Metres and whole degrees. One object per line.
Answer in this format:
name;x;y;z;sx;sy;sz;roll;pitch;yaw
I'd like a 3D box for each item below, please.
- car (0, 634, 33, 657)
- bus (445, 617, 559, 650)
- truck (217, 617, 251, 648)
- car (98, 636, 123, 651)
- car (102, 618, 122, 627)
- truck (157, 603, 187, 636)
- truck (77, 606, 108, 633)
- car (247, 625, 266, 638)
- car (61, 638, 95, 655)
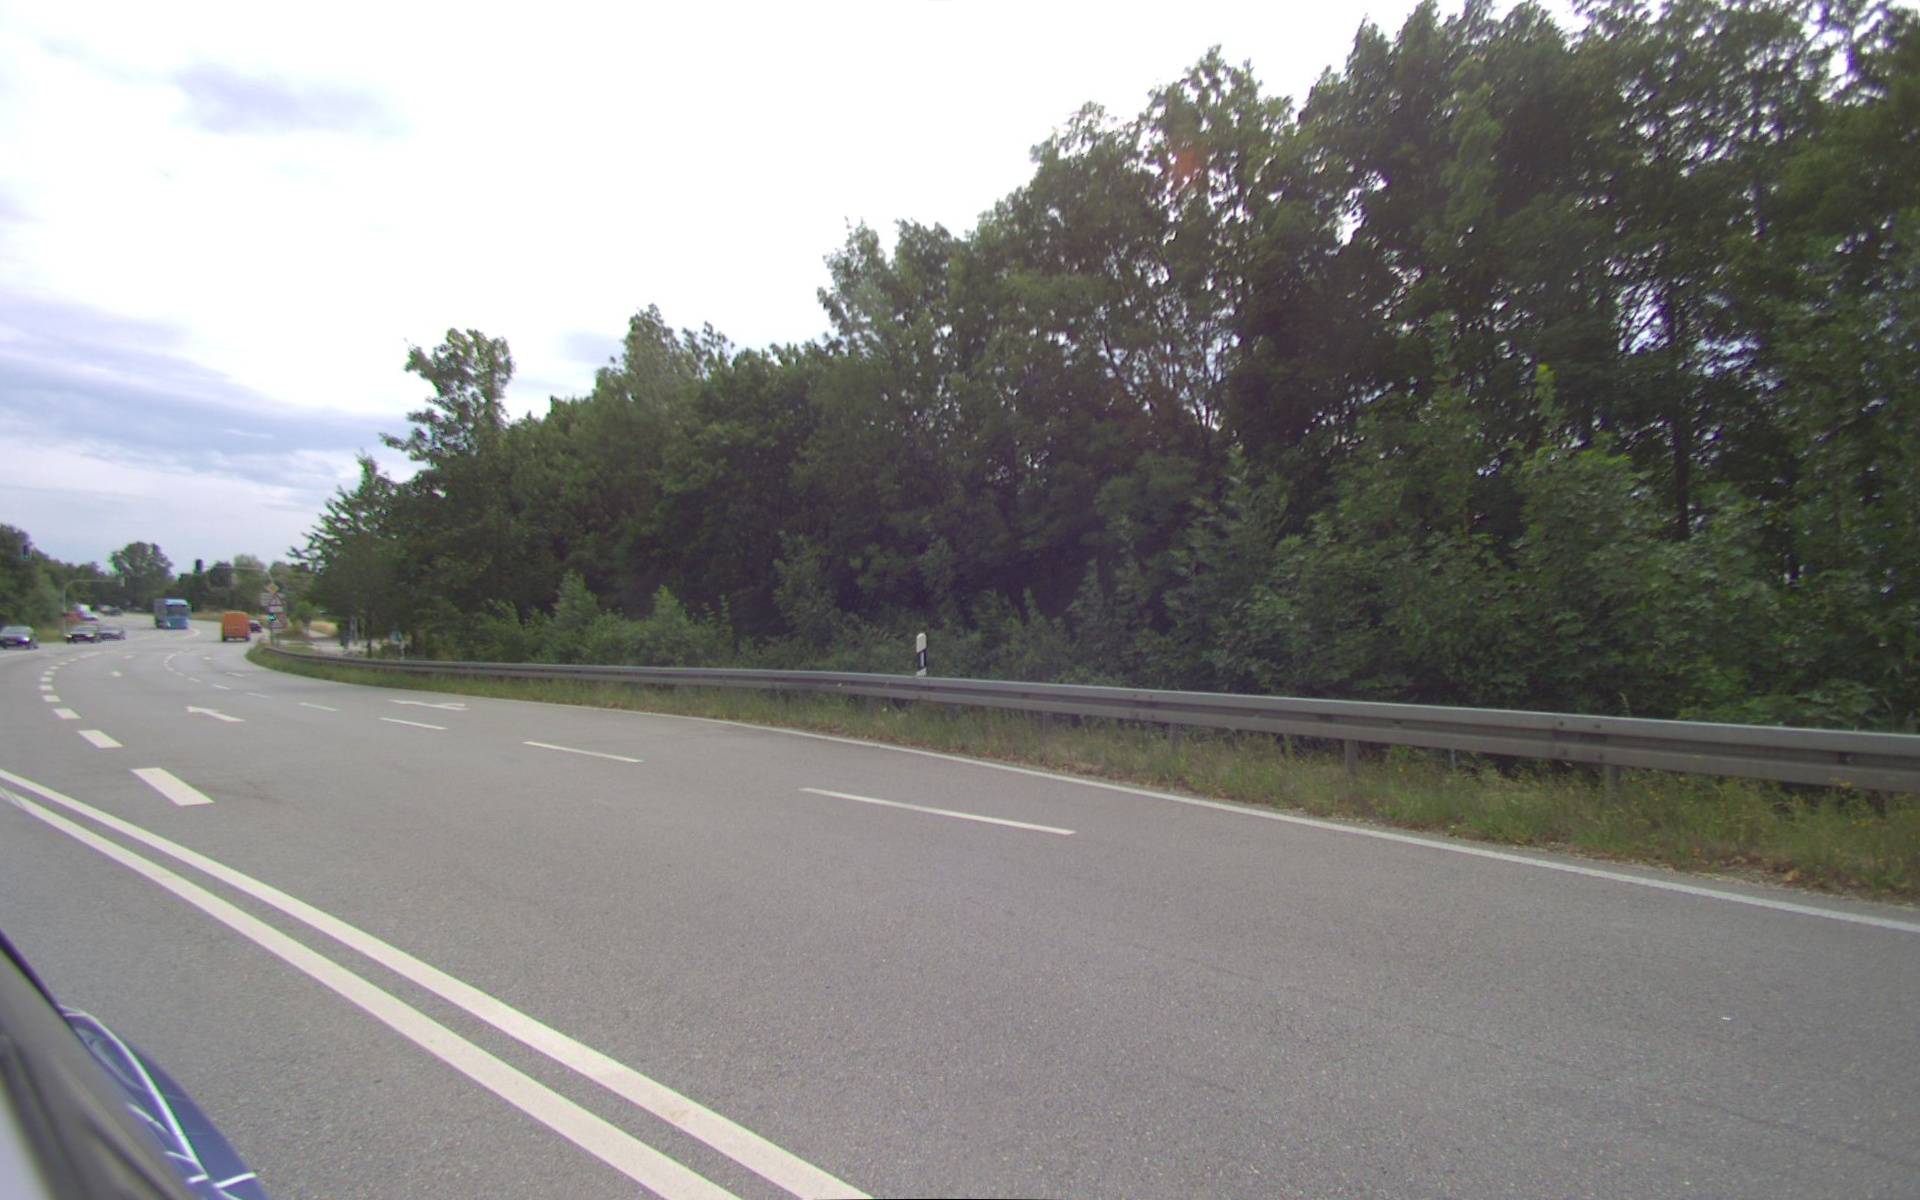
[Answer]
car;-60.223;2.859;64.117;1.717;1.335;4.008;5;-5;-37
bus;-45.648;3.373;101.175;9.921;3.070;3.124;3;-3;-44
truck;-65.645;2.937;91.620;2.285;2.621;6.038;4;-4;-35
car;-80.981;4.114;96.466;1.718;1.335;4.006;6;-5;-40
car;-161.426;4.250;192.666;3.989;1.396;1.726;1;-3;34
truck;-108.804;2.682;139.737;2.980;4.383;9.590;3;-3;-38
truck;-147.154;3.325;171.646;9.575;4.383;2.985;-1;-3;45
car;-84.243;3.783;121.110;1.695;1.509;4.558;4;-4;-36
car;-73.846;3.871;84.778;1.717;1.335;4.009;5;-5;-37
